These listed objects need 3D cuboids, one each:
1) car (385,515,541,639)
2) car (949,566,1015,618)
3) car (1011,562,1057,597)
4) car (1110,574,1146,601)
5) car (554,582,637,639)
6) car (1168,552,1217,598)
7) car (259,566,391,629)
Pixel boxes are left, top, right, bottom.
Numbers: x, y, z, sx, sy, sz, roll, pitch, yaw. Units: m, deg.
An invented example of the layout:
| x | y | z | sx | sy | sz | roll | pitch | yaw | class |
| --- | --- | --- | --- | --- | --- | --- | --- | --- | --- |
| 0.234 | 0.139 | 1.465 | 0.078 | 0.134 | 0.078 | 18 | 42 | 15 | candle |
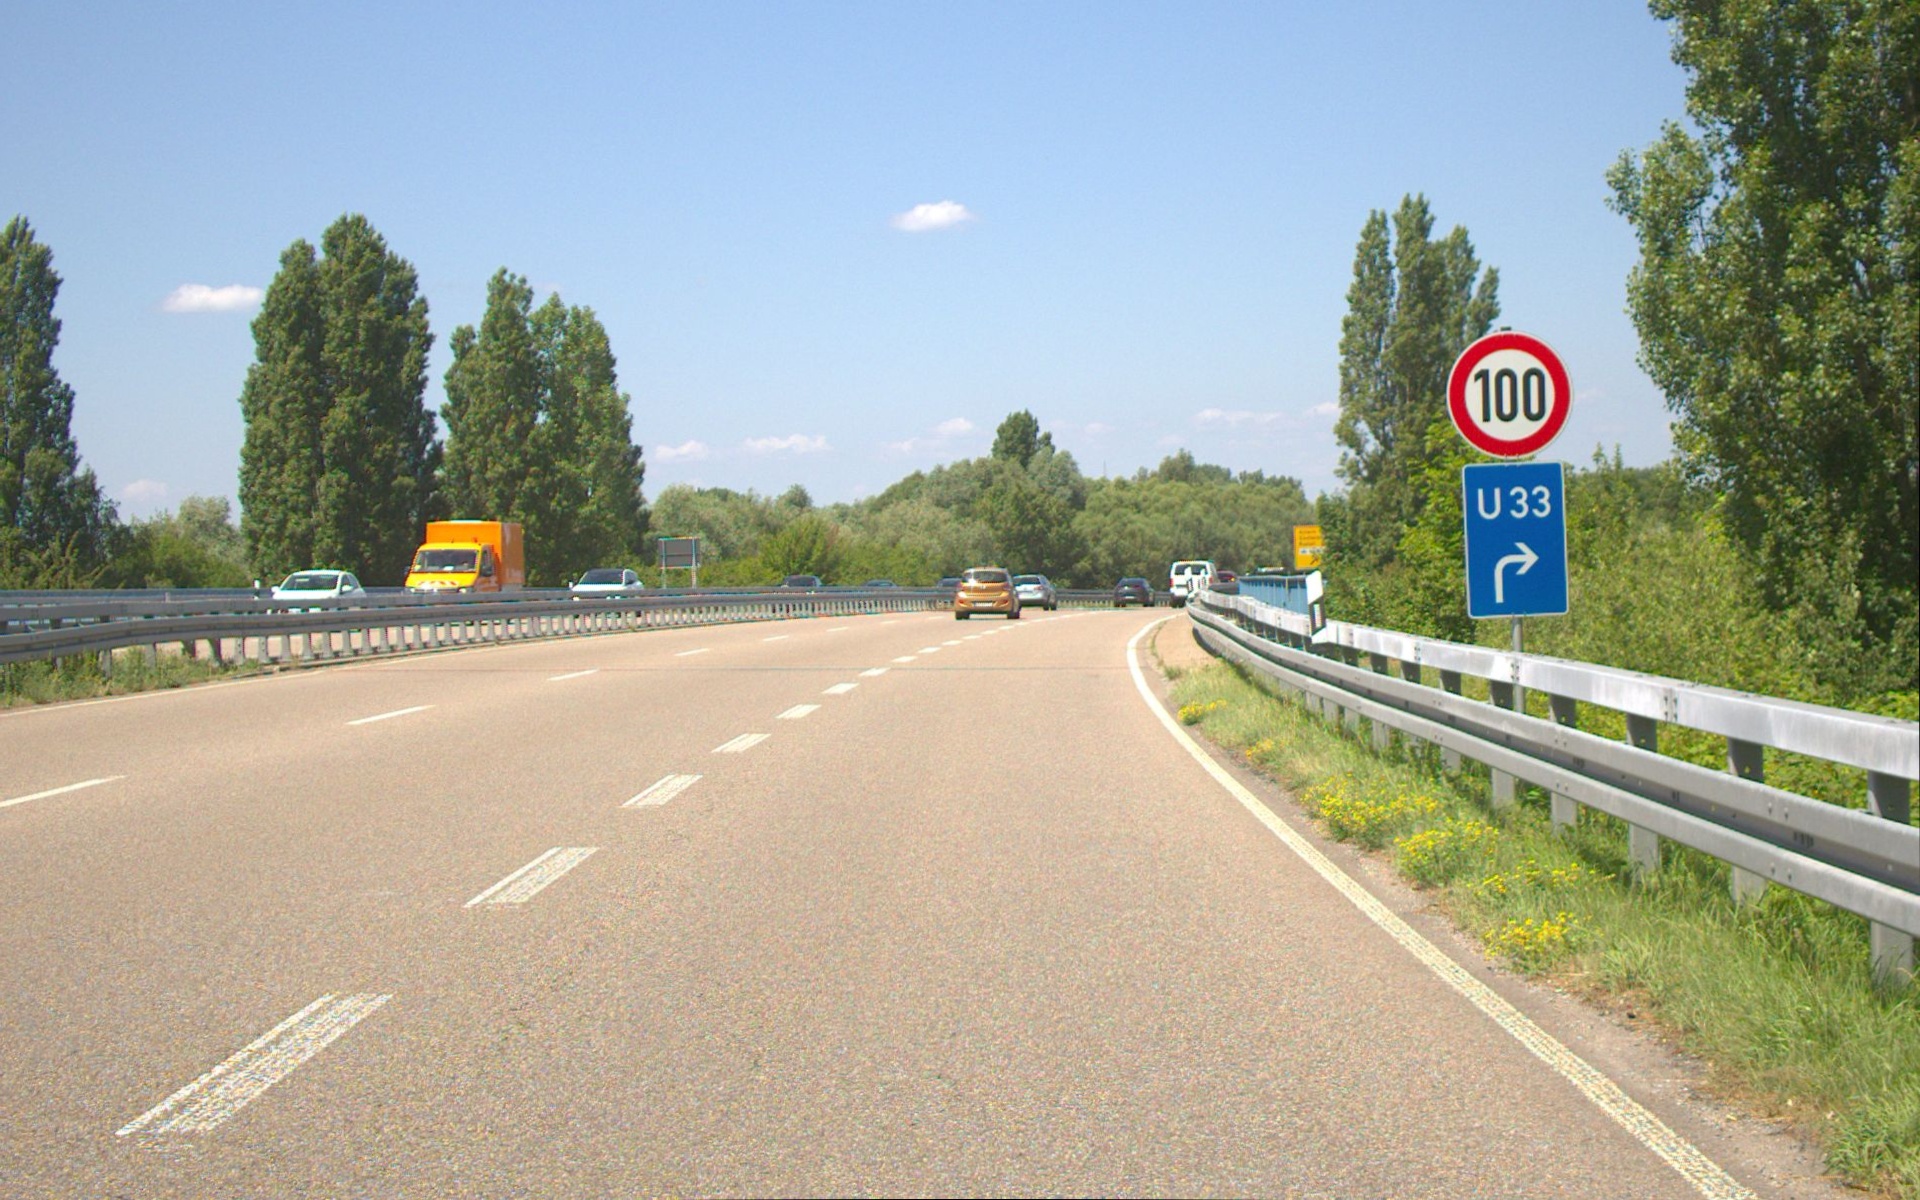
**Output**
| x | y | z | sx | sy | sz | roll | pitch | yaw | class |
| --- | --- | --- | --- | --- | --- | --- | --- | --- | --- |
| -13.747 | -0.653 | 95.671 | 2.306 | 3.280 | 7.026 | -1 | 0 | 9 | car |
| 0.648 | -0.244 | 99.022 | 1.841 | 1.459 | 4.000 | 0 | 1 | 1 | car |
| 3.188 | -0.886 | 146.687 | 1.841 | 1.446 | 4.000 | 0 | 1 | 3 | car |
| 9.398 | -0.702 | 191.990 | 1.944 | 1.459 | 4.000 | 0 | 1 | 4 | car |
| -12.182 | 0.363 | 115.168 | 1.853 | 1.812 | 4.794 | -1 | 0 | 5 | car |
| 9.859 | -1.073 | 145.626 | 1.842 | 1.889 | 3.999 | 0 | 1 | 8 | car |
| -15.117 | -0.084 | 82.116 | 1.853 | 1.427 | 4.794 | -1 | 0 | 5 | car |
